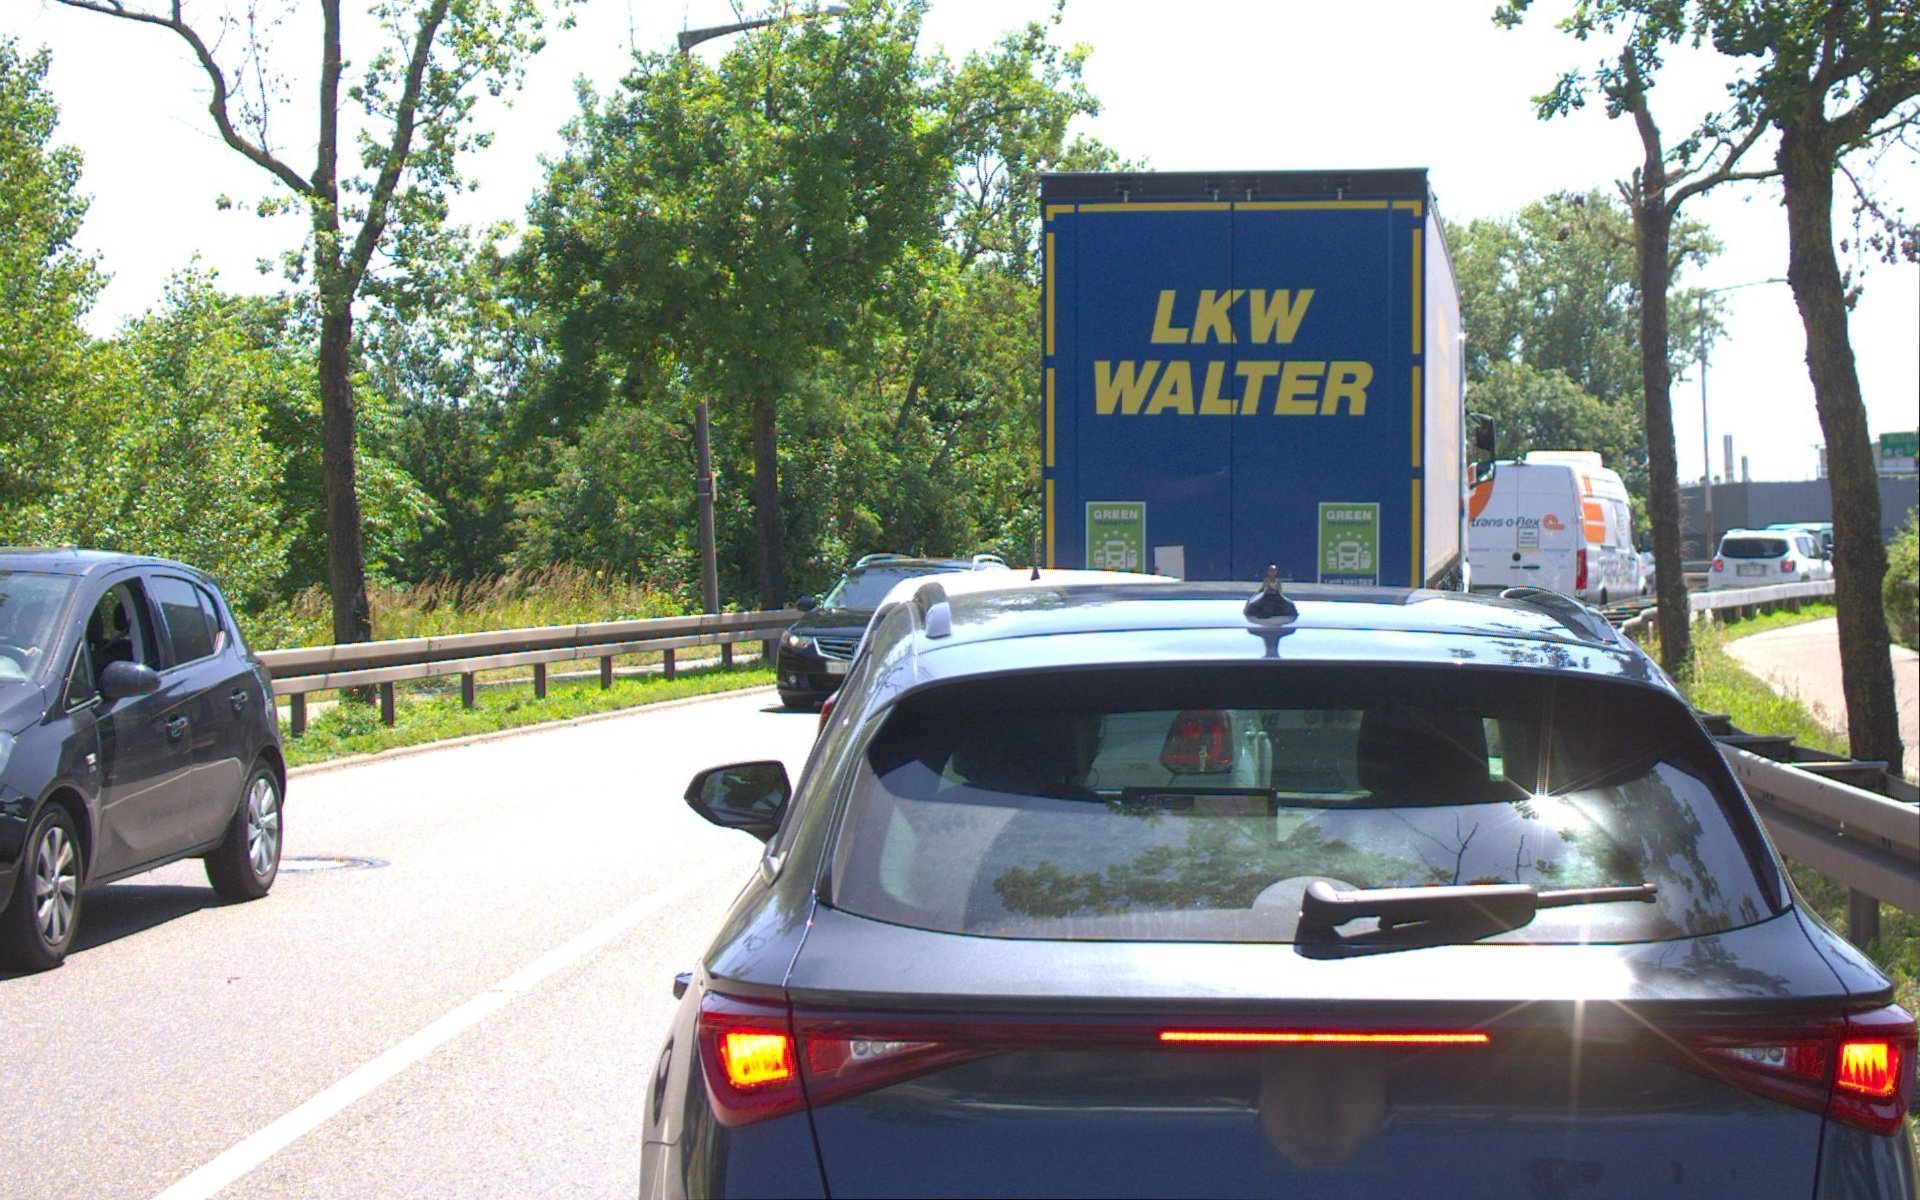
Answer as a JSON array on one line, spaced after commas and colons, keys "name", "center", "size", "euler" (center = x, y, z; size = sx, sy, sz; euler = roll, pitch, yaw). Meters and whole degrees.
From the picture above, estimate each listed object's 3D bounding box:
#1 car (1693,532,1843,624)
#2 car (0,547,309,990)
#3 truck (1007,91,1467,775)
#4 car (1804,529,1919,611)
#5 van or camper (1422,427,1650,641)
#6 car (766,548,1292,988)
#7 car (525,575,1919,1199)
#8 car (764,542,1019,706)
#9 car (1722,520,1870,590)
[{"name": "car", "center": [15.770, -0.435, 66.918], "size": [1.996, 1.706, 4.614], "euler": [1, 1, 24]}, {"name": "car", "center": [-3.856, 0.532, 13.174], "size": [1.671, 1.461, 3.819], "euler": [1, 1, 5]}, {"name": "truck", "center": [3.023, -1.212, 30.827], "size": [2.951, 4.433, 16.792], "euler": [1, 1, 8]}, {"name": "car", "center": [21.133, -0.699, 79.512], "size": [1.996, 1.802, 4.838], "euler": [1, 1, 28]}, {"name": "van or camper", "center": [8.666, -0.970, 51.220], "size": [2.468, 2.988, 6.081], "euler": [1, 1, 18]}, {"name": "car", "center": [0.247, 0.554, 13.936], "size": [1.809, 1.503, 4.000], "euler": [1, 1, 0]}, {"name": "car", "center": [0.402, 0.697, 5.598], "size": [1.744, 1.427, 3.880], "euler": [1, 1, 0]}, {"name": "car", "center": [-0.582, 0.177, 32.841], "size": [1.860, 1.416, 4.256], "euler": [1, 1, 7]}, {"name": "car", "center": [20.681, -1.102, 84.915], "size": [2.133, 1.675, 4.871], "euler": [1, 1, 31]}]
